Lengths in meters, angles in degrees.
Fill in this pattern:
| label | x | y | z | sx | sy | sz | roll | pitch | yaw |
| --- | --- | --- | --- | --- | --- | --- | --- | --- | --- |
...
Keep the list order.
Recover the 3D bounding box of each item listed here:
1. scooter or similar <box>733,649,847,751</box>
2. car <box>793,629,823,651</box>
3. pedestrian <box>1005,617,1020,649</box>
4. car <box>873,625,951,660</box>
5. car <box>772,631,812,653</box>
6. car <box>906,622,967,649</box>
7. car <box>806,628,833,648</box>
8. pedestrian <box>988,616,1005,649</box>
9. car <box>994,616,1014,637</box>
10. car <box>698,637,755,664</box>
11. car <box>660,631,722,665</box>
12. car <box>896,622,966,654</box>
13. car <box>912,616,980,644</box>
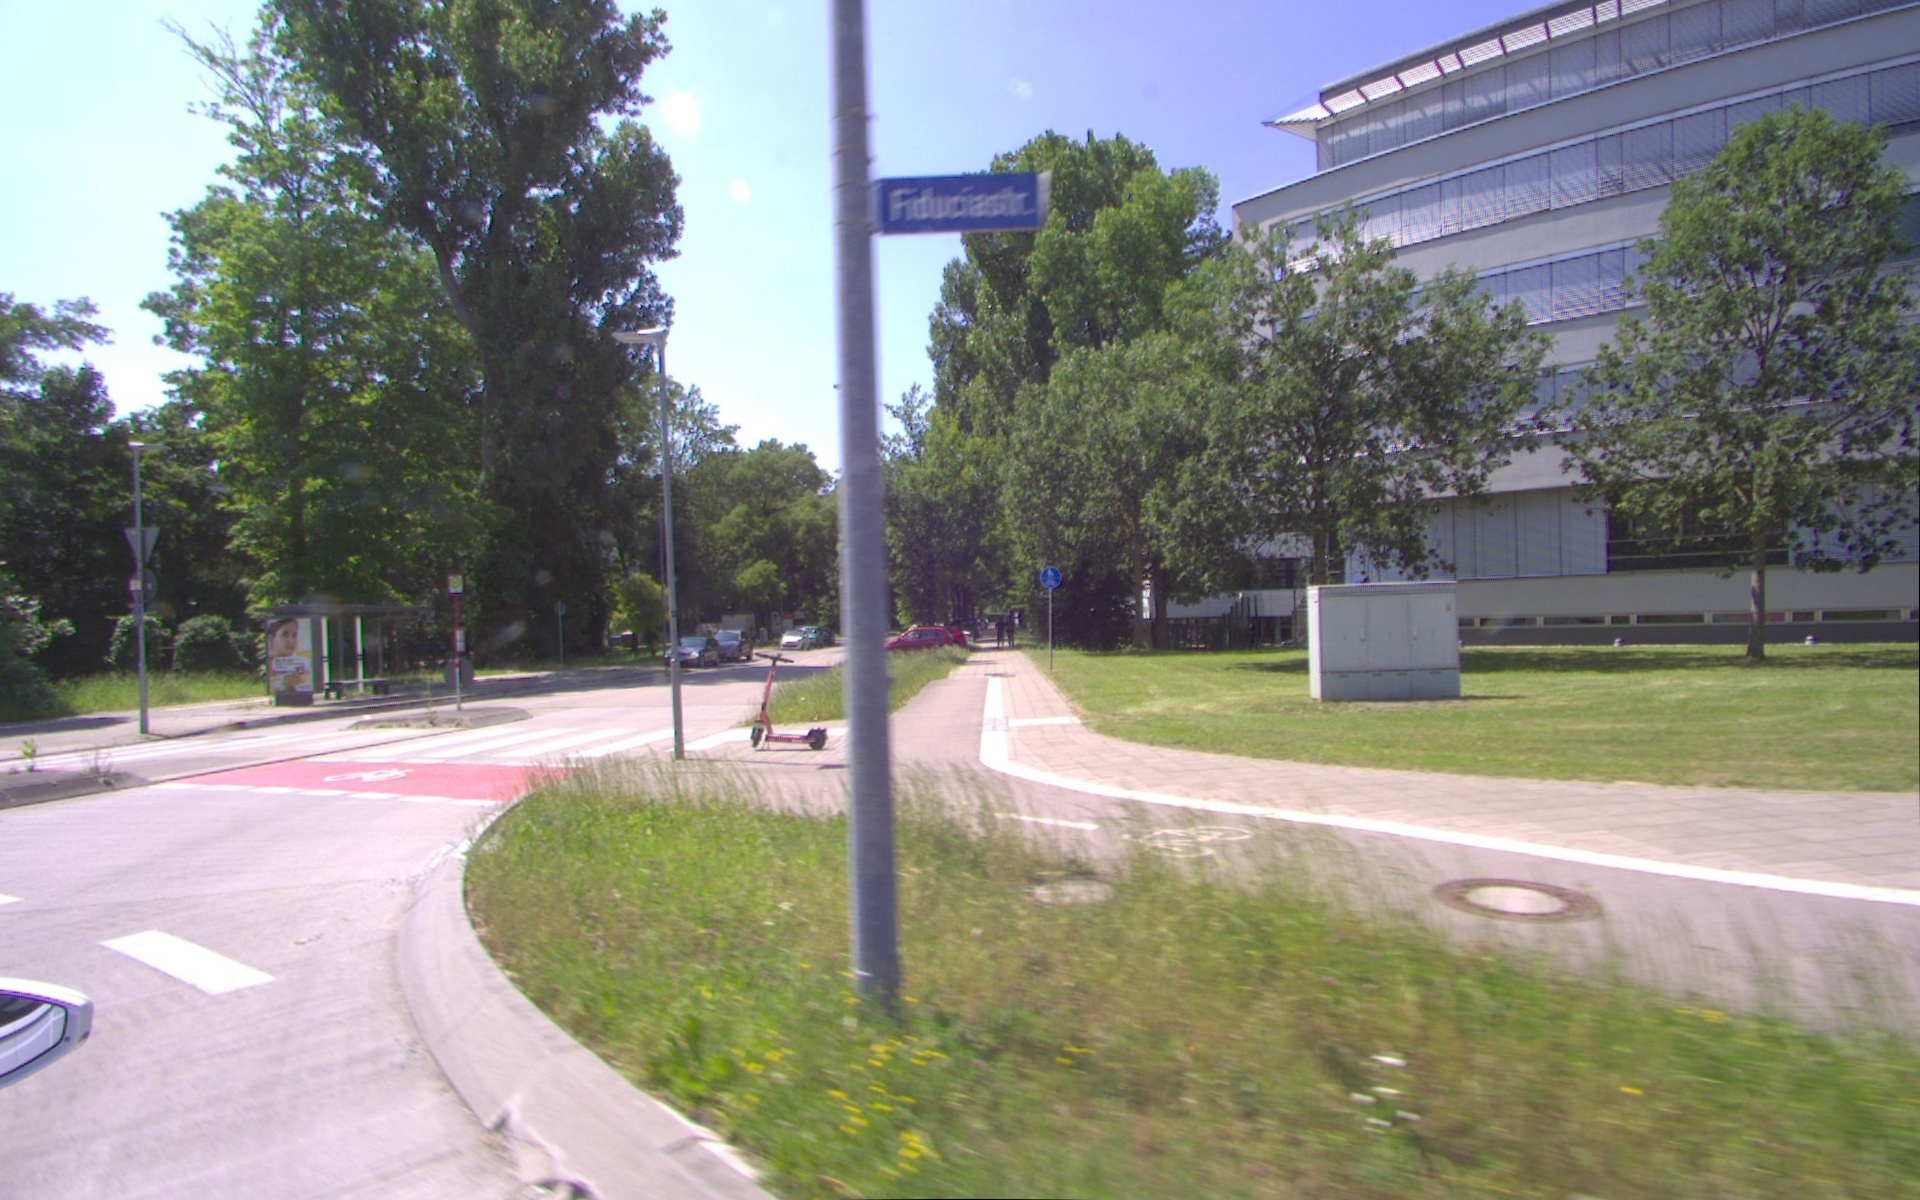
| label | x | y | z | sx | sy | sz | roll | pitch | yaw |
| --- | --- | --- | --- | --- | --- | --- | --- | --- | --- |
| scooter or similar | -2.140 | 1.244 | 12.546 | 1.376 | 1.217 | 0.446 | -3 | -1 | 25 |
| car | -11.616 | 3.056 | 76.625 | 1.702 | 1.563 | 3.447 | -2 | -2 | 1 |
| pedestrian | 2.687 | 1.688 | 51.282 | 0.577 | 1.637 | 0.485 | -2 | -1 | 17 |
| car | -2.294 | 2.011 | 47.775 | 3.613 | 1.502 | 1.870 | -2 | -2 | -2 |
| car | -12.075 | 3.042 | 72.252 | 1.961 | 1.488 | 4.002 | -2 | -2 | 4 |
| car | -1.477 | 2.259 | 63.098 | 3.712 | 1.536 | 1.814 | -2 | -2 | 1 |
| car | -11.561 | 3.143 | 82.580 | 1.702 | 1.513 | 3.446 | -2 | -1 | -1 |
| pedestrian | 1.868 | 1.661 | 51.339 | 0.634 | 1.628 | 0.570 | -2 | -1 | 28 |
| car | 3.855 | 2.373 | 87.897 | 1.660 | 1.749 | 4.002 | -2 | -2 | 3 |
| car | -12.332 | 2.649 | 53.147 | 1.961 | 1.326 | 4.002 | -2 | -2 | 1 |
| car | -12.571 | 2.218 | 47.047 | 1.670 | 1.505 | 4.002 | 1 | -2 | 2 |
| car | -1.529 | 2.003 | 52.795 | 3.613 | 1.502 | 1.870 | -2 | -2 | -2 |
| car | -1.085 | 2.366 | 79.574 | 5.211 | 2.010 | 1.761 | -2 | -1 | 2 |
